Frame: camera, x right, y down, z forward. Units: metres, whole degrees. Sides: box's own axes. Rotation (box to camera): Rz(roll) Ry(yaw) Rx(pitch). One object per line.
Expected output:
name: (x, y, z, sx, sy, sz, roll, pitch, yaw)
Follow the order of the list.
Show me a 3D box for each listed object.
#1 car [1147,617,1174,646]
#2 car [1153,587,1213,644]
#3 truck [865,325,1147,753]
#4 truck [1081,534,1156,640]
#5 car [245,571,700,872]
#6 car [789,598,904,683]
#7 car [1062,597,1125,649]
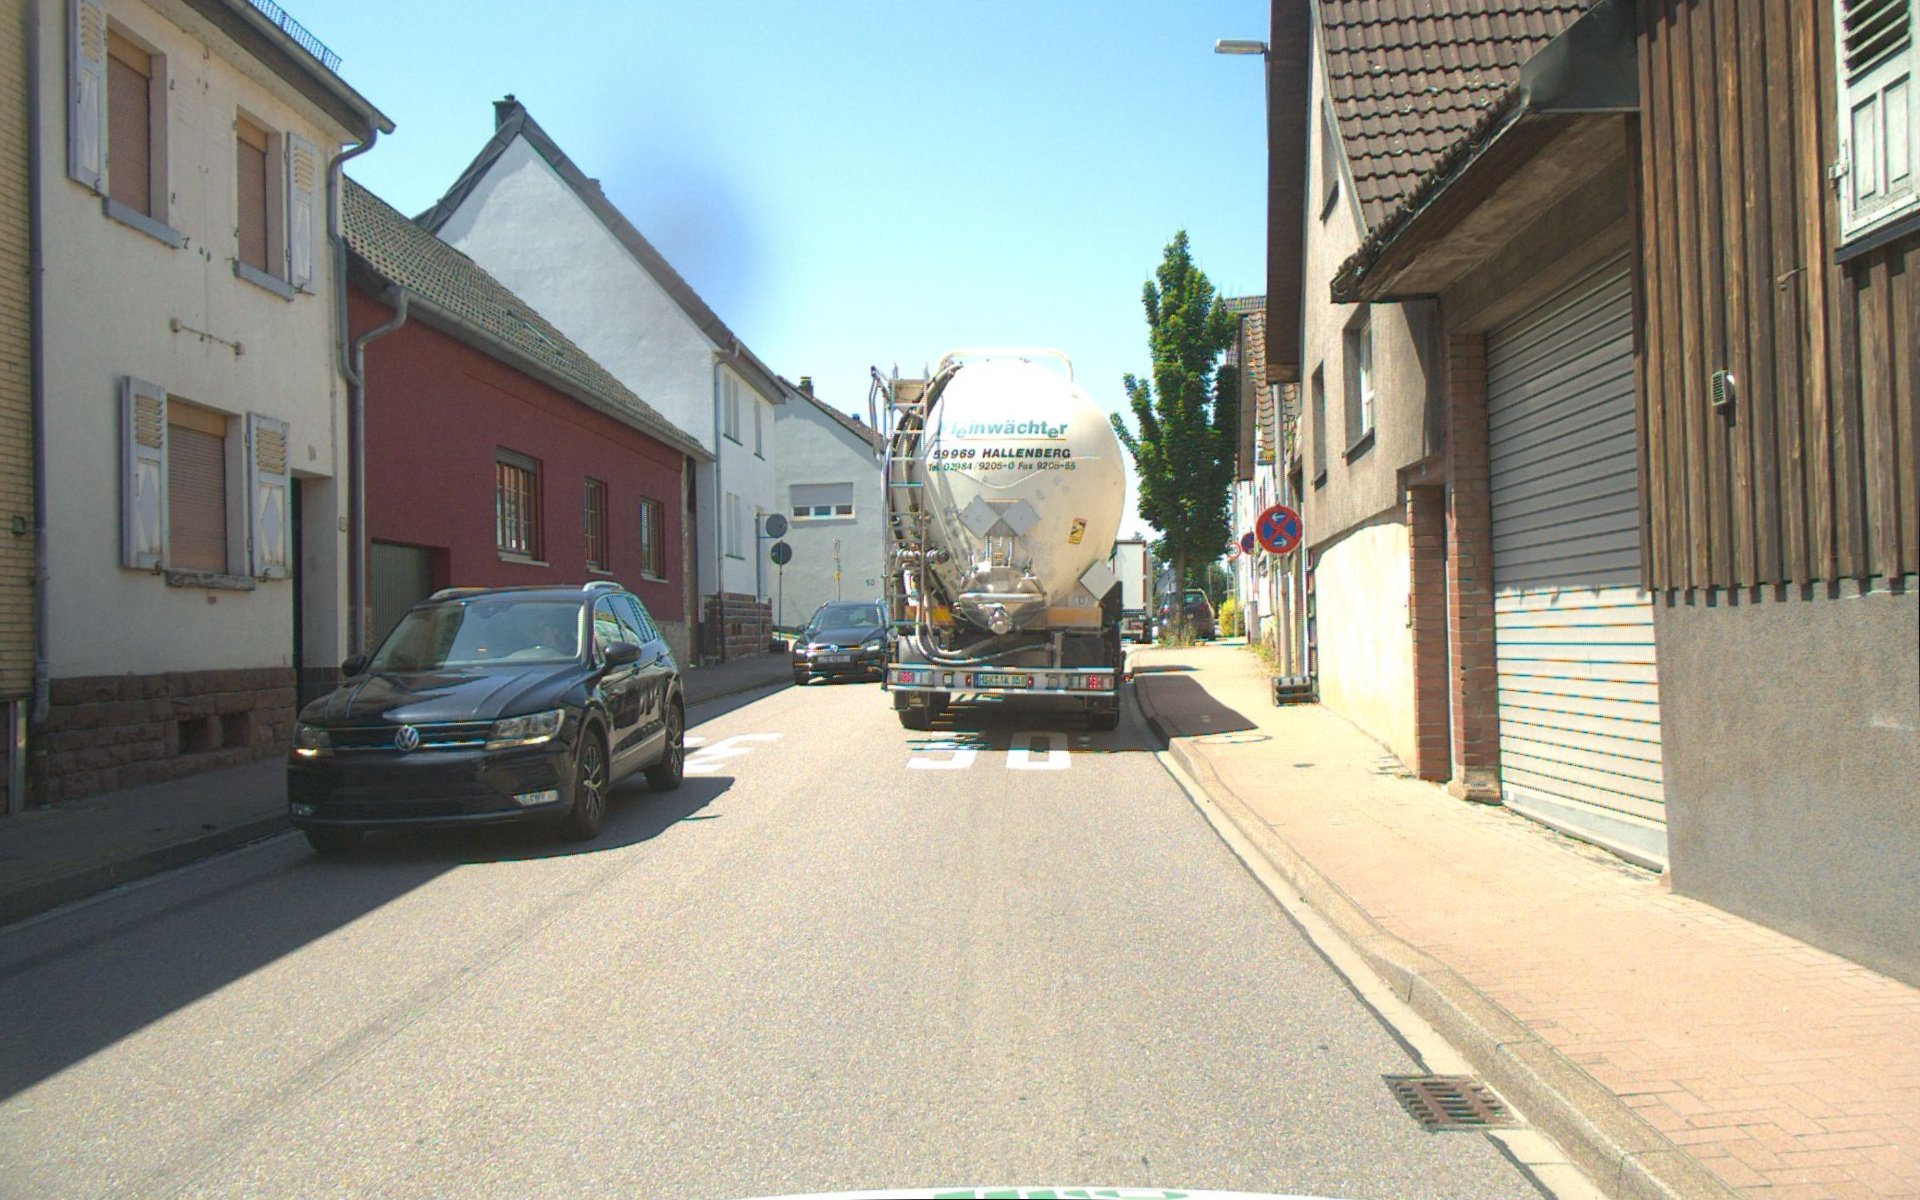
car: (14.759, 2.336, 121.919, 1.905, 2.005, 4.788, -2, -2, 7)
car: (7.183, 0.503, 53.108, 1.764, 1.642, 4.552, -3, -1, 8)
truck: (0.736, -0.592, 19.734, 2.675, 4.029, 8.146, 0, 0, 4)
truck: (6.756, -0.531, 69.678, 2.900, 4.141, 9.290, -1, 0, 6)
car: (-3.129, 0.695, 11.618, 1.774, 1.637, 4.338, -3, 0, 1)
car: (-2.067, 0.712, 31.127, 1.659, 1.434, 4.201, -2, 0, 2)
car: (4.350, 0.771, 53.345, 1.664, 1.472, 4.839, -4, -2, 8)
